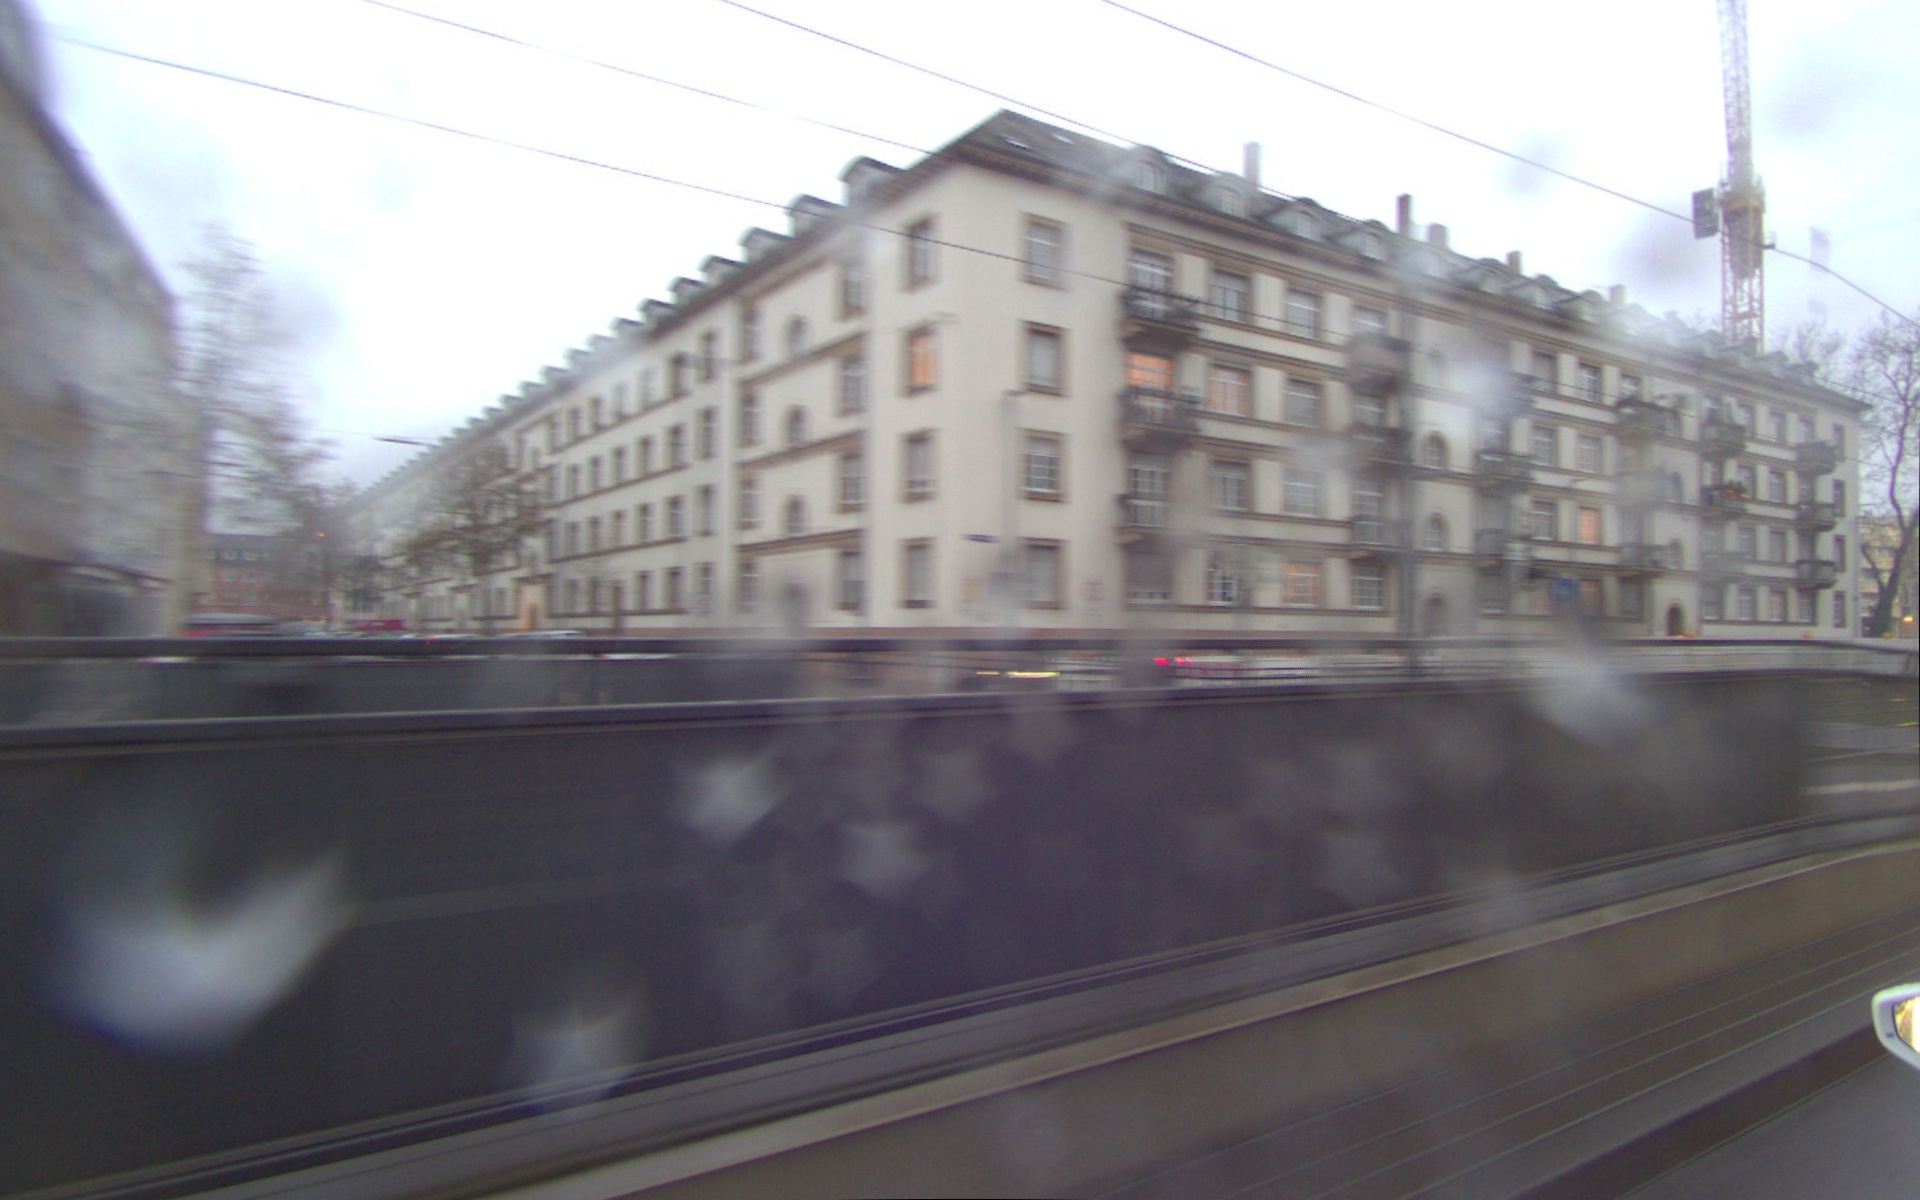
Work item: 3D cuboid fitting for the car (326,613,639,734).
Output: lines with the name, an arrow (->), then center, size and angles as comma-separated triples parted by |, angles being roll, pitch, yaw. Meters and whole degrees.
car -> -6.204, 0.899, 13.177 | 3.506, 1.372, 1.673 | 2, -1, -32

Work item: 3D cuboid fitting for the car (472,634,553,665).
car -> -20.973, 2.298, 47.135 | 3.283, 1.444, 1.445 | 1, -2, -35

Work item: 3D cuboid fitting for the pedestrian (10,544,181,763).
pedestrian -> -7.528, 0.440, 8.772 | 0.782, 1.803, 0.823 | 1, 0, 18

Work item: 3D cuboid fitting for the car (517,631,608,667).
car -> -16.547, 2.025, 41.889 | 3.283, 1.444, 1.445 | 1, -2, -35

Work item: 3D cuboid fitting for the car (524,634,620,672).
car -> -15.325, 2.057, 39.704 | 3.283, 1.444, 1.445 | 1, -2, -35

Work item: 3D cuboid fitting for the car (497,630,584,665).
car -> -18.274, 2.046, 43.798 | 3.283, 1.444, 1.445 | 1, -2, -35

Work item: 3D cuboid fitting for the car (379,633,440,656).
car -> -35.190, 2.822, 64.198 | 3.283, 1.444, 1.445 | 1, -2, -35

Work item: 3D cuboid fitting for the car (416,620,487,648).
car -> -27.808, 1.858, 54.934 | 3.283, 1.444, 1.445 | 1, -2, -35

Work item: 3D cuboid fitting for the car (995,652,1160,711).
car -> 2.552, 1.703, 21.601 | 3.390, 1.138, 1.446 | 1, -2, -33

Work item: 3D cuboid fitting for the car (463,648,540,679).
car -> -22.593, 3.106, 49.542 | 3.283, 1.444, 1.445 | 1, -2, -35

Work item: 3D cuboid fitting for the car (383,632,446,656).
car -> -33.526, 2.694, 61.793 | 3.283, 1.444, 1.445 | 1, -2, -35

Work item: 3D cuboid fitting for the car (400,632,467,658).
car -> -30.532, 2.593, 58.263 | 3.283, 1.444, 1.445 | 1, -2, -35

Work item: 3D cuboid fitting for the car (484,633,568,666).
car -> -19.644, 2.230, 45.502 | 3.283, 1.444, 1.445 | 1, -2, -35

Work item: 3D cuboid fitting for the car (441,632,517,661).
car -> -24.520, 2.364, 51.220 | 3.283, 1.444, 1.445 | 1, -2, -35

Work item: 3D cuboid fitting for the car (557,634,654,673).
car -> -13.697, 2.036, 38.899 | 3.283, 1.444, 1.445 | 1, -2, -35

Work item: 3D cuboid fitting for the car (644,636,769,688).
car -> -7.653, 1.839, 30.453 | 3.402, 1.498, 1.440 | 2, -3, -43

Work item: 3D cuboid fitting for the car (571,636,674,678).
car -> -12.239, 2.035, 36.487 | 3.283, 1.444, 1.445 | 1, -2, -35

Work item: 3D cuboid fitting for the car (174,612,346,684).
car -> -21.337, 1.440, 30.714 | 4.113, 2.061, 1.727 | 2, -2, -42

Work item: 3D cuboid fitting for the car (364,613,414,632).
car -> -44.610, 1.743, 78.438 | 3.283, 1.444, 1.445 | 1, -2, -35

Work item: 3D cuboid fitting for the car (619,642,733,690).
car -> -9.193, 2.099, 32.553 | 3.283, 1.444, 1.445 | 1, -2, -35

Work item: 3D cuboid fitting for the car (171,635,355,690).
car -> -19.728, 1.717, 28.536 | 4.113, 1.449, 1.587 | 2, -3, -42

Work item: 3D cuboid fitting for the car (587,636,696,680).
car -> -10.882, 1.947, 34.352 | 3.283, 1.444, 1.445 | 1, -2, -35
